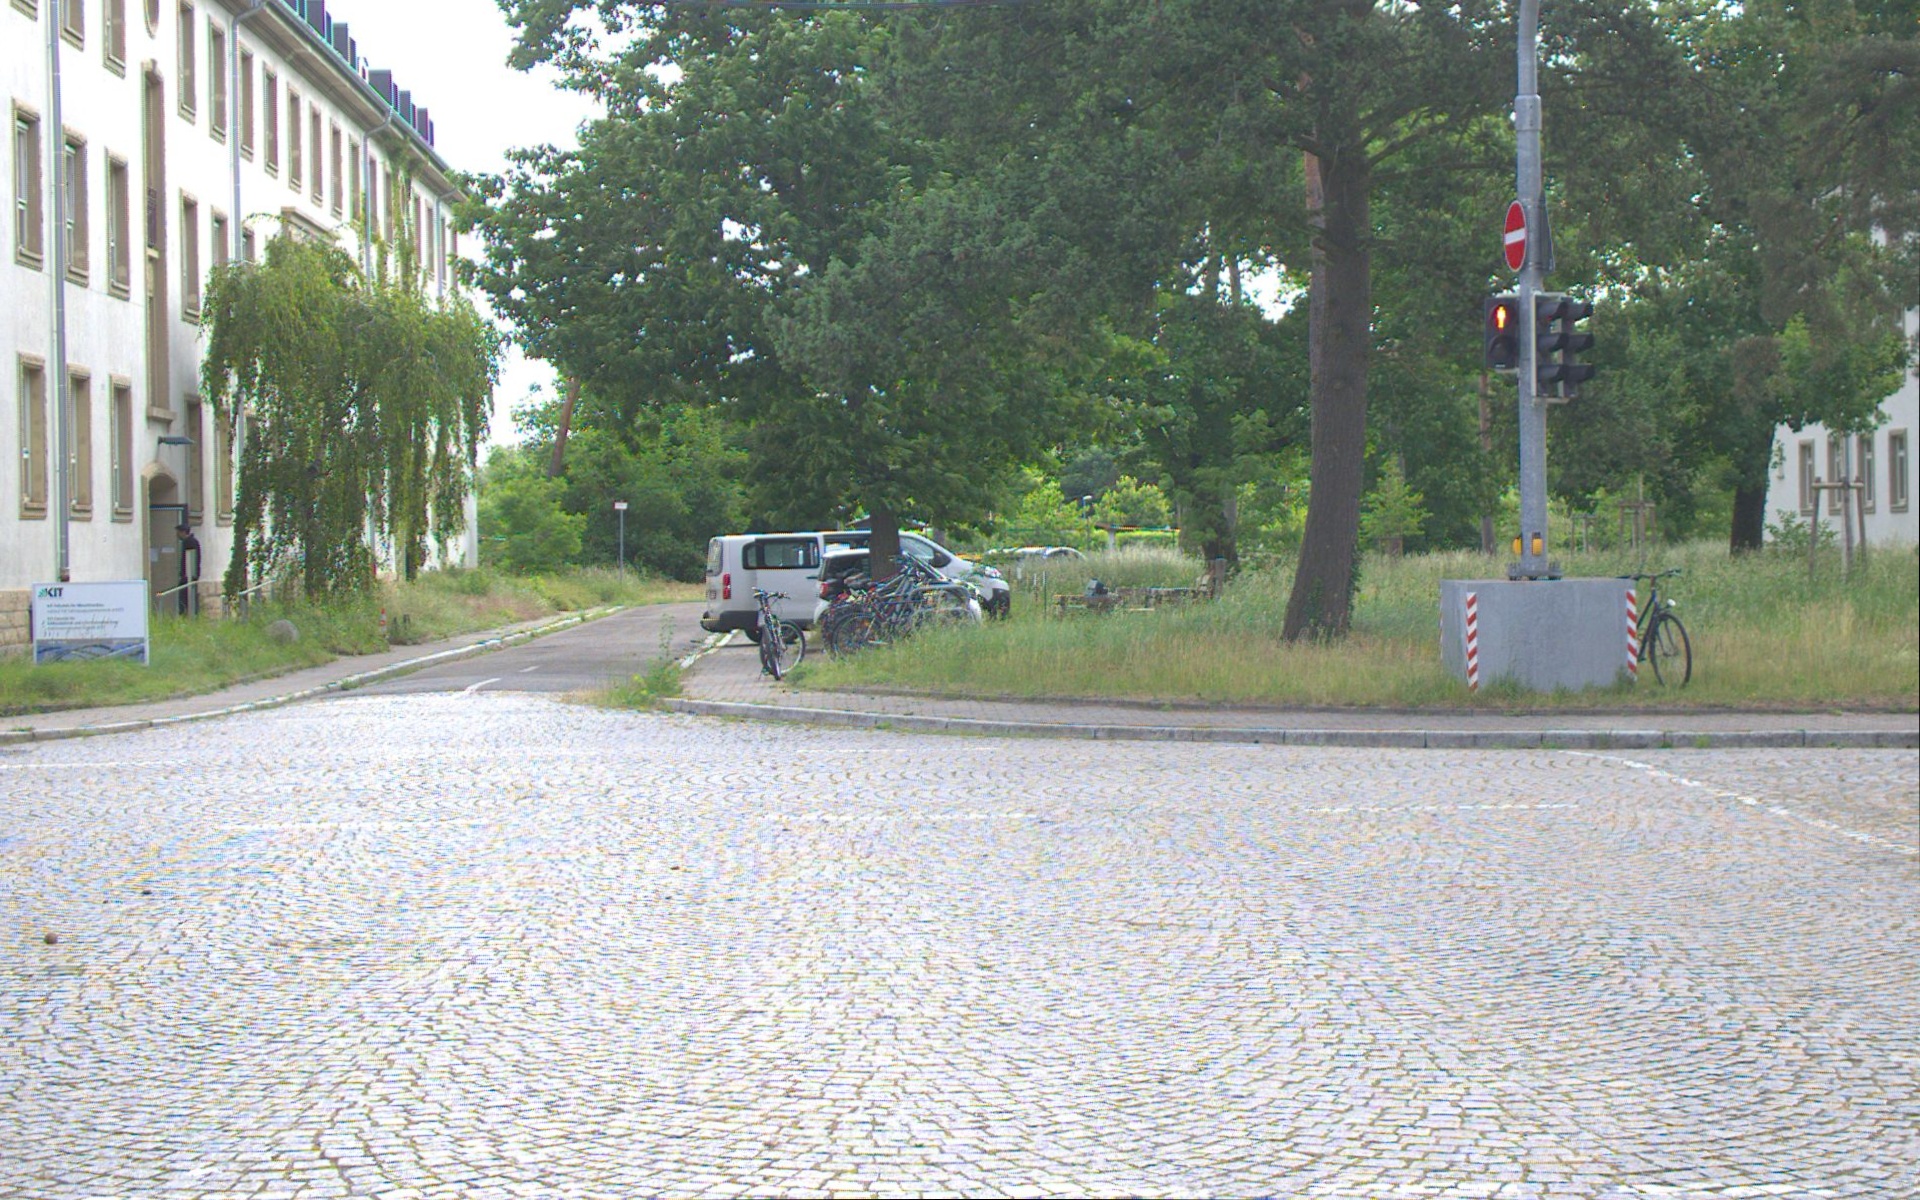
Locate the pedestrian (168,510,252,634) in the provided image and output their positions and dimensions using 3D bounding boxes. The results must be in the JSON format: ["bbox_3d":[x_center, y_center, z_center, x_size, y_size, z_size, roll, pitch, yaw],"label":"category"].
[{"bbox_3d":[-12.378,-0.469,56.792,1.087,2.007,1.021,-1,1,4],"label":"pedestrian"}]

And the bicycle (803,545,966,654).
[{"bbox_3d":[-0.970,-0.014,44.412,2.069,1.373,0.620,-1,1,-1],"label":"bicycle"}]

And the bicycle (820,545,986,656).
[{"bbox_3d":[-0.719,-0.002,43.618,2.069,1.373,0.620,-1,1,-1],"label":"bicycle"}]

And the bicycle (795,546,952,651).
[{"bbox_3d":[-1.155,-0.027,45.894,2.069,1.373,0.620,-1,1,-1],"label":"bicycle"}]

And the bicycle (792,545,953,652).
[{"bbox_3d":[-1.145,-0.022,45.147,2.069,1.373,0.620,-1,1,-1],"label":"bicycle"}]

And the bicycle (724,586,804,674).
[{"bbox_3d":[-2.250,0.336,39.701,0.618,0.960,2.076,-1,1,5],"label":"bicycle"}]

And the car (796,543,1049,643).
[{"bbox_3d":[-0.640,-0.131,56.051,3.931,1.539,2.000,-1,1,-6],"label":"car"}]

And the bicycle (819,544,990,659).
[{"bbox_3d":[-0.678,0.009,42.197,2.069,1.373,0.620,-1,1,-1],"label":"bicycle"}]

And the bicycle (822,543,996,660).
[{"bbox_3d":[-0.613,0.015,41.527,2.069,1.373,0.620,-1,1,-1],"label":"bicycle"}]

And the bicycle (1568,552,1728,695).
[{"bbox_3d":[5.858,0.181,29.383,0.908,1.173,1.874,-1,1,-3],"label":"bicycle"}]

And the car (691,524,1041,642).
[{"bbox_3d":[-1.642,-0.315,59.400,5.690,1.904,2.231,-1,1,-14],"label":"car"}]

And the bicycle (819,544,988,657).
[{"bbox_3d":[-0.702,0.004,42.821,2.069,1.373,0.620,-1,1,-1],"label":"bicycle"}]
